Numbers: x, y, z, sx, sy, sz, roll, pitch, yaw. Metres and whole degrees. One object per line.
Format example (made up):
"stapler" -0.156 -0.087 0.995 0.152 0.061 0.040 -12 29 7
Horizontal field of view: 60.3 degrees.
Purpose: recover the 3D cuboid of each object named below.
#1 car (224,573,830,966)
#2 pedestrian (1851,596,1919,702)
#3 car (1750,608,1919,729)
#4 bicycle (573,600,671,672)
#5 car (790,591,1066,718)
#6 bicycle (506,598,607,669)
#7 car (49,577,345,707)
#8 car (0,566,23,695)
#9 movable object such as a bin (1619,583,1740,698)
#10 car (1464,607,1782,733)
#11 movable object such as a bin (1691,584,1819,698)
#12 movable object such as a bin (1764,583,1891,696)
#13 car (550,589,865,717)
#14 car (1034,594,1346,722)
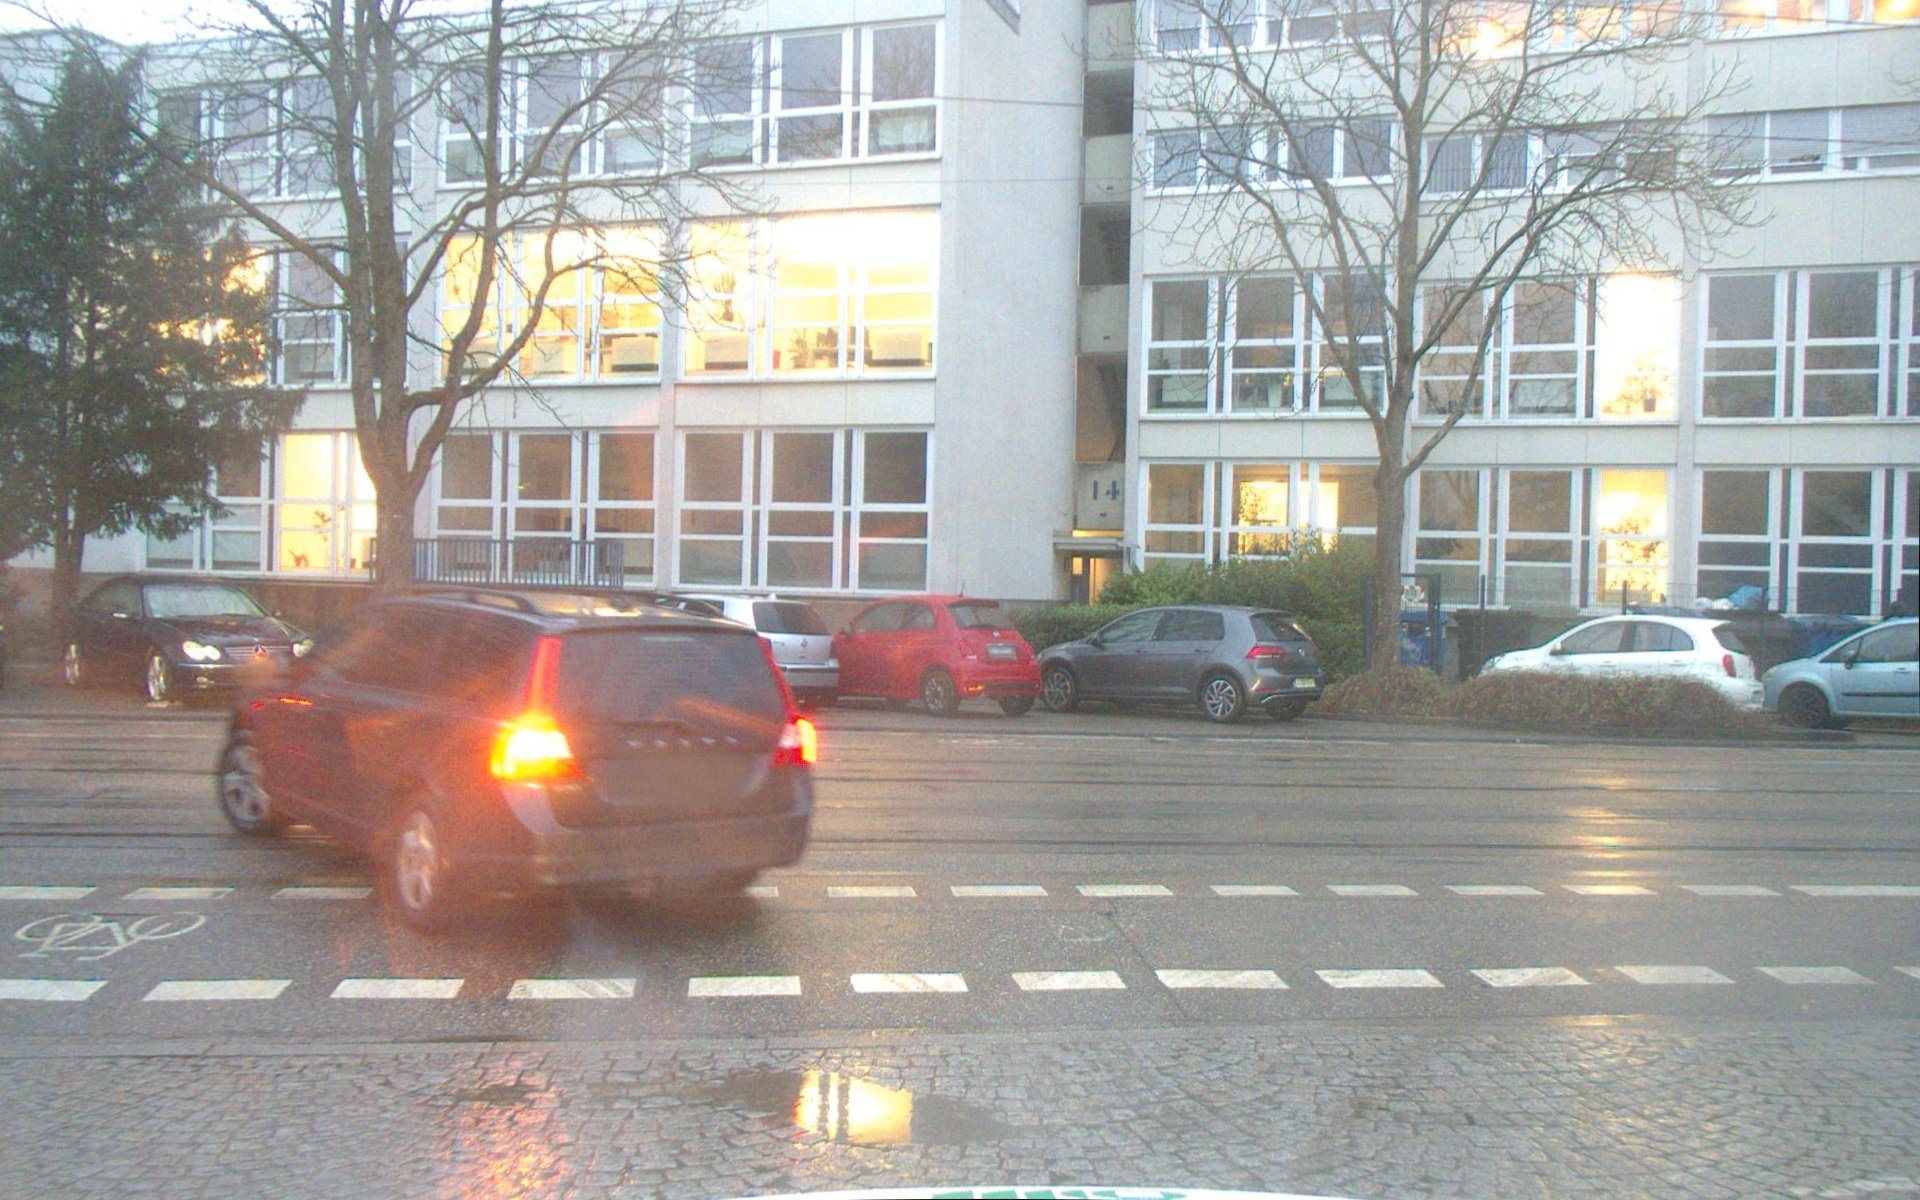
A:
"car" -2.537 0.670 8.859 1.734 1.572 4.240 1 0 -36
"pedestrian" 15.178 0.788 26.995 0.951 1.706 0.598 1 0 -7
"car" 13.247 0.930 22.812 3.929 1.591 1.726 1 0 42
"bicycle" -5.573 0.571 27.410 0.626 1.140 2.207 0 0 16
"car" -0.462 0.655 21.706 3.390 1.519 1.719 1 0 42
"bicycle" -6.735 0.545 27.740 0.626 1.140 2.207 0 0 16
"car" -9.220 0.443 19.865 3.929 1.403 1.845 1 0 42
"car" -12.968 0.334 19.878 3.929 1.488 1.845 1 0 42
"movable object such as a bin" 12.243 0.668 28.211 1.288 1.892 1.573 0 0 -5
"car" 9.202 0.911 23.082 3.803 1.579 1.685 1 0 39
"movable object such as a bin" 13.602 0.682 28.367 1.362 1.892 1.573 0 0 -5
"movable object such as a bin" 14.918 0.656 28.496 1.288 1.892 1.573 0 0 -5
"car" -3.276 0.612 21.144 3.923 1.471 1.785 1 0 38
"car" 2.986 0.704 21.823 3.782 1.519 1.687 1 0 40
